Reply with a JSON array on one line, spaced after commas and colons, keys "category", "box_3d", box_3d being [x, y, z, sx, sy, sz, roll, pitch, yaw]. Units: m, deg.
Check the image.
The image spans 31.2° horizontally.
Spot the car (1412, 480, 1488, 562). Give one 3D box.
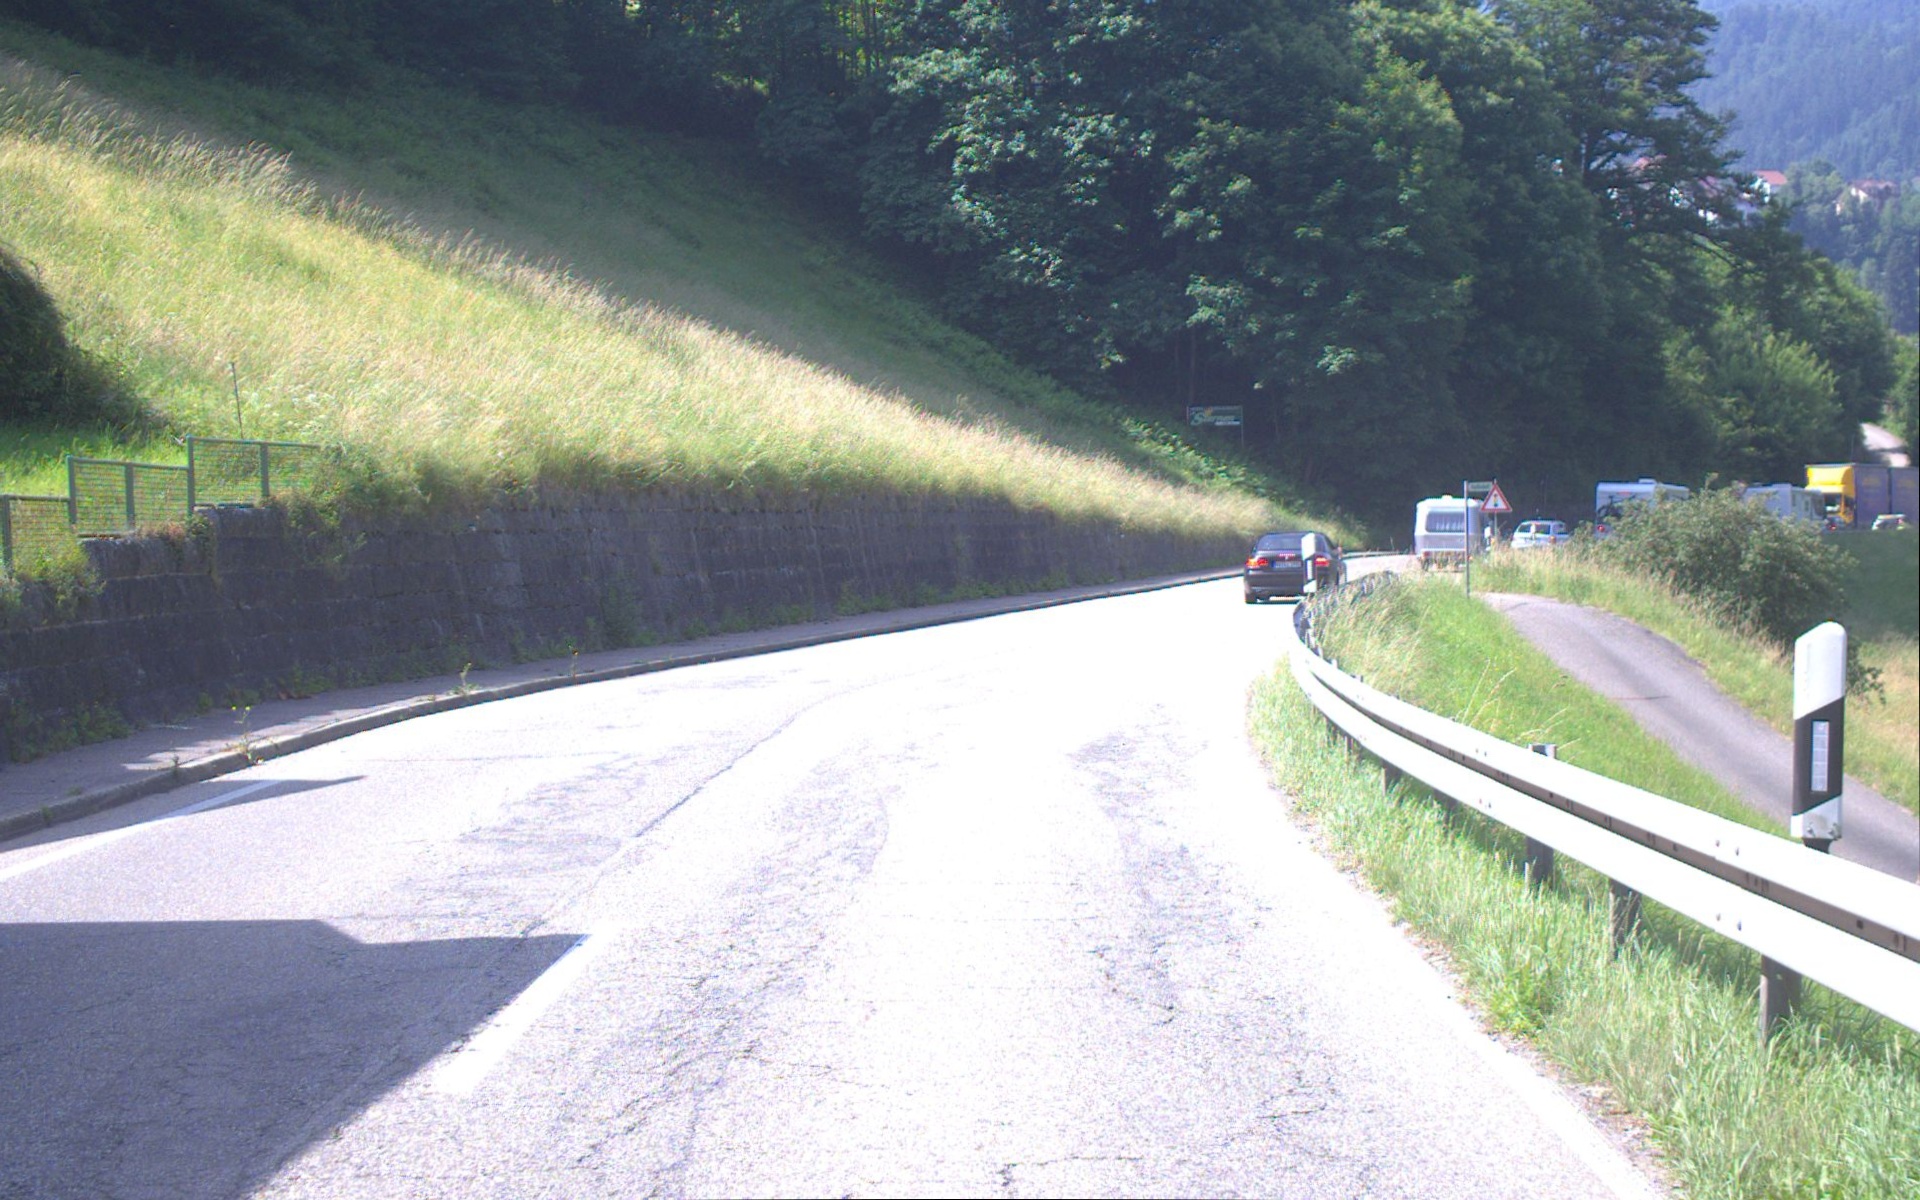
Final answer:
[{"category": "car", "box_3d": [15.036, -2.444, 105.318, 1.994, 2.344, 4.912, 1, 3, 12]}]

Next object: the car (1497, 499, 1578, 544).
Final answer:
[{"category": "car", "box_3d": [20.396, -2.786, 121.302, 1.996, 1.479, 3.996, 3, 3, 21]}]

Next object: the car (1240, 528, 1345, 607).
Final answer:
[{"category": "car", "box_3d": [6.370, -0.642, 65.612, 1.772, 1.331, 3.766, 1, 3, 9]}]

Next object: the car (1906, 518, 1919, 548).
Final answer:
[{"category": "car", "box_3d": [49.368, -3.382, 173.860, 1.910, 1.481, 3.993, 4, 3, 30]}]

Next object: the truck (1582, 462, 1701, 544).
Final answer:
[{"category": "truck", "box_3d": [26.634, -3.827, 134.114, 2.795, 2.987, 6.859, 3, 3, 26]}]

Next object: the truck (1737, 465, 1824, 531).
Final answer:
[{"category": "truck", "box_3d": [36.743, -4.536, 153.850, 2.241, 2.794, 6.223, 2, 1, 28]}]

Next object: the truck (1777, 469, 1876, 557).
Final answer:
[{"category": "truck", "box_3d": [44.783, -4.534, 177.626, 3.194, 4.381, 6.561, 2, 3, 30]}]
